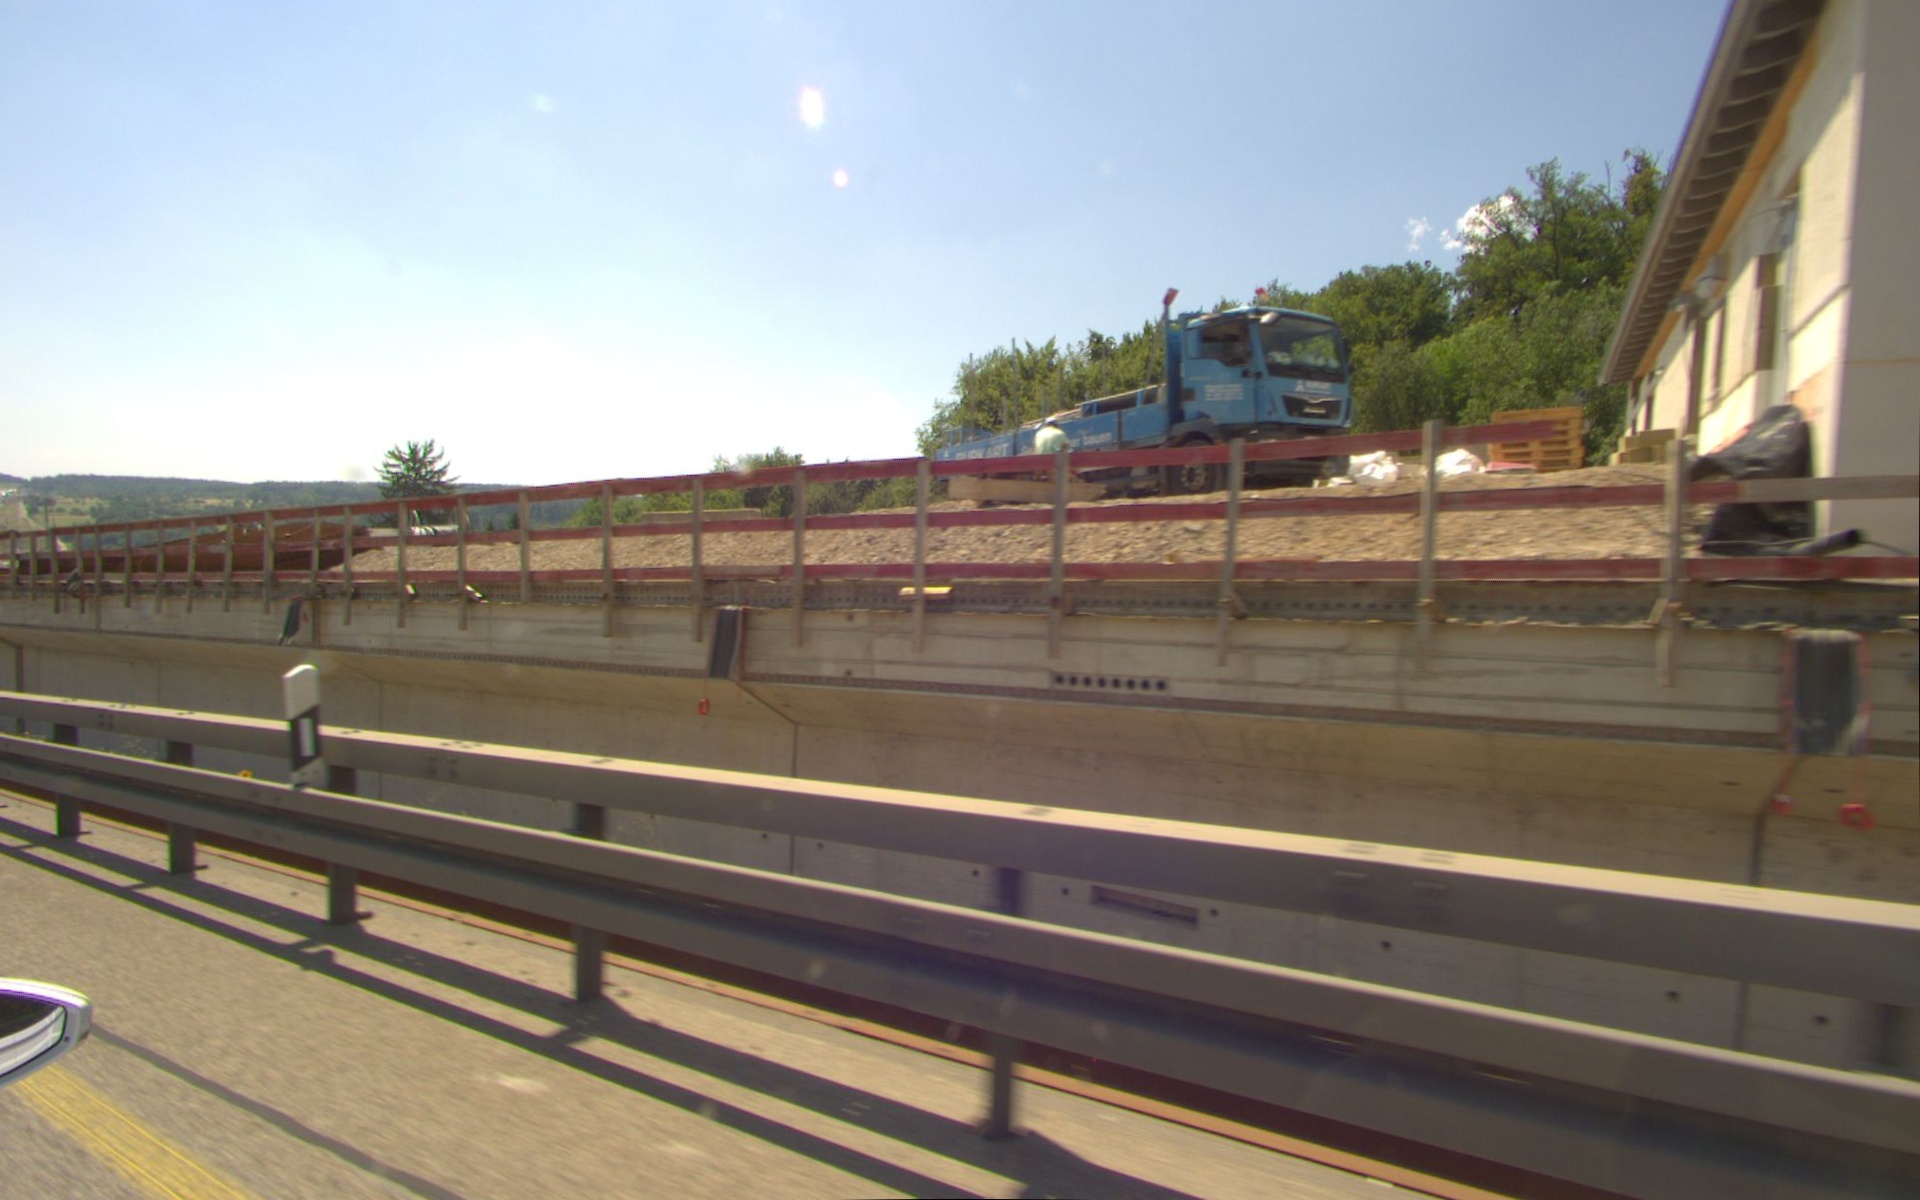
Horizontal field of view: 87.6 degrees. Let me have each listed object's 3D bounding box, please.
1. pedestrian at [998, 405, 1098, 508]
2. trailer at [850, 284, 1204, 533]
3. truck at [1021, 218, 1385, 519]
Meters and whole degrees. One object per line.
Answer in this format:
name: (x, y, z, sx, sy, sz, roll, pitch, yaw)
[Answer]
pedestrian: (1.220, -1.943, 13.822, 0.982, 1.165, 1.016, -1, -2, 39)
trailer: (0.913, -3.566, 21.578, 2.684, 3.744, 8.935, 1, 1, -33)
truck: (3.857, -3.487, 17.141, 2.684, 3.744, 5.672, 1, 1, -34)
